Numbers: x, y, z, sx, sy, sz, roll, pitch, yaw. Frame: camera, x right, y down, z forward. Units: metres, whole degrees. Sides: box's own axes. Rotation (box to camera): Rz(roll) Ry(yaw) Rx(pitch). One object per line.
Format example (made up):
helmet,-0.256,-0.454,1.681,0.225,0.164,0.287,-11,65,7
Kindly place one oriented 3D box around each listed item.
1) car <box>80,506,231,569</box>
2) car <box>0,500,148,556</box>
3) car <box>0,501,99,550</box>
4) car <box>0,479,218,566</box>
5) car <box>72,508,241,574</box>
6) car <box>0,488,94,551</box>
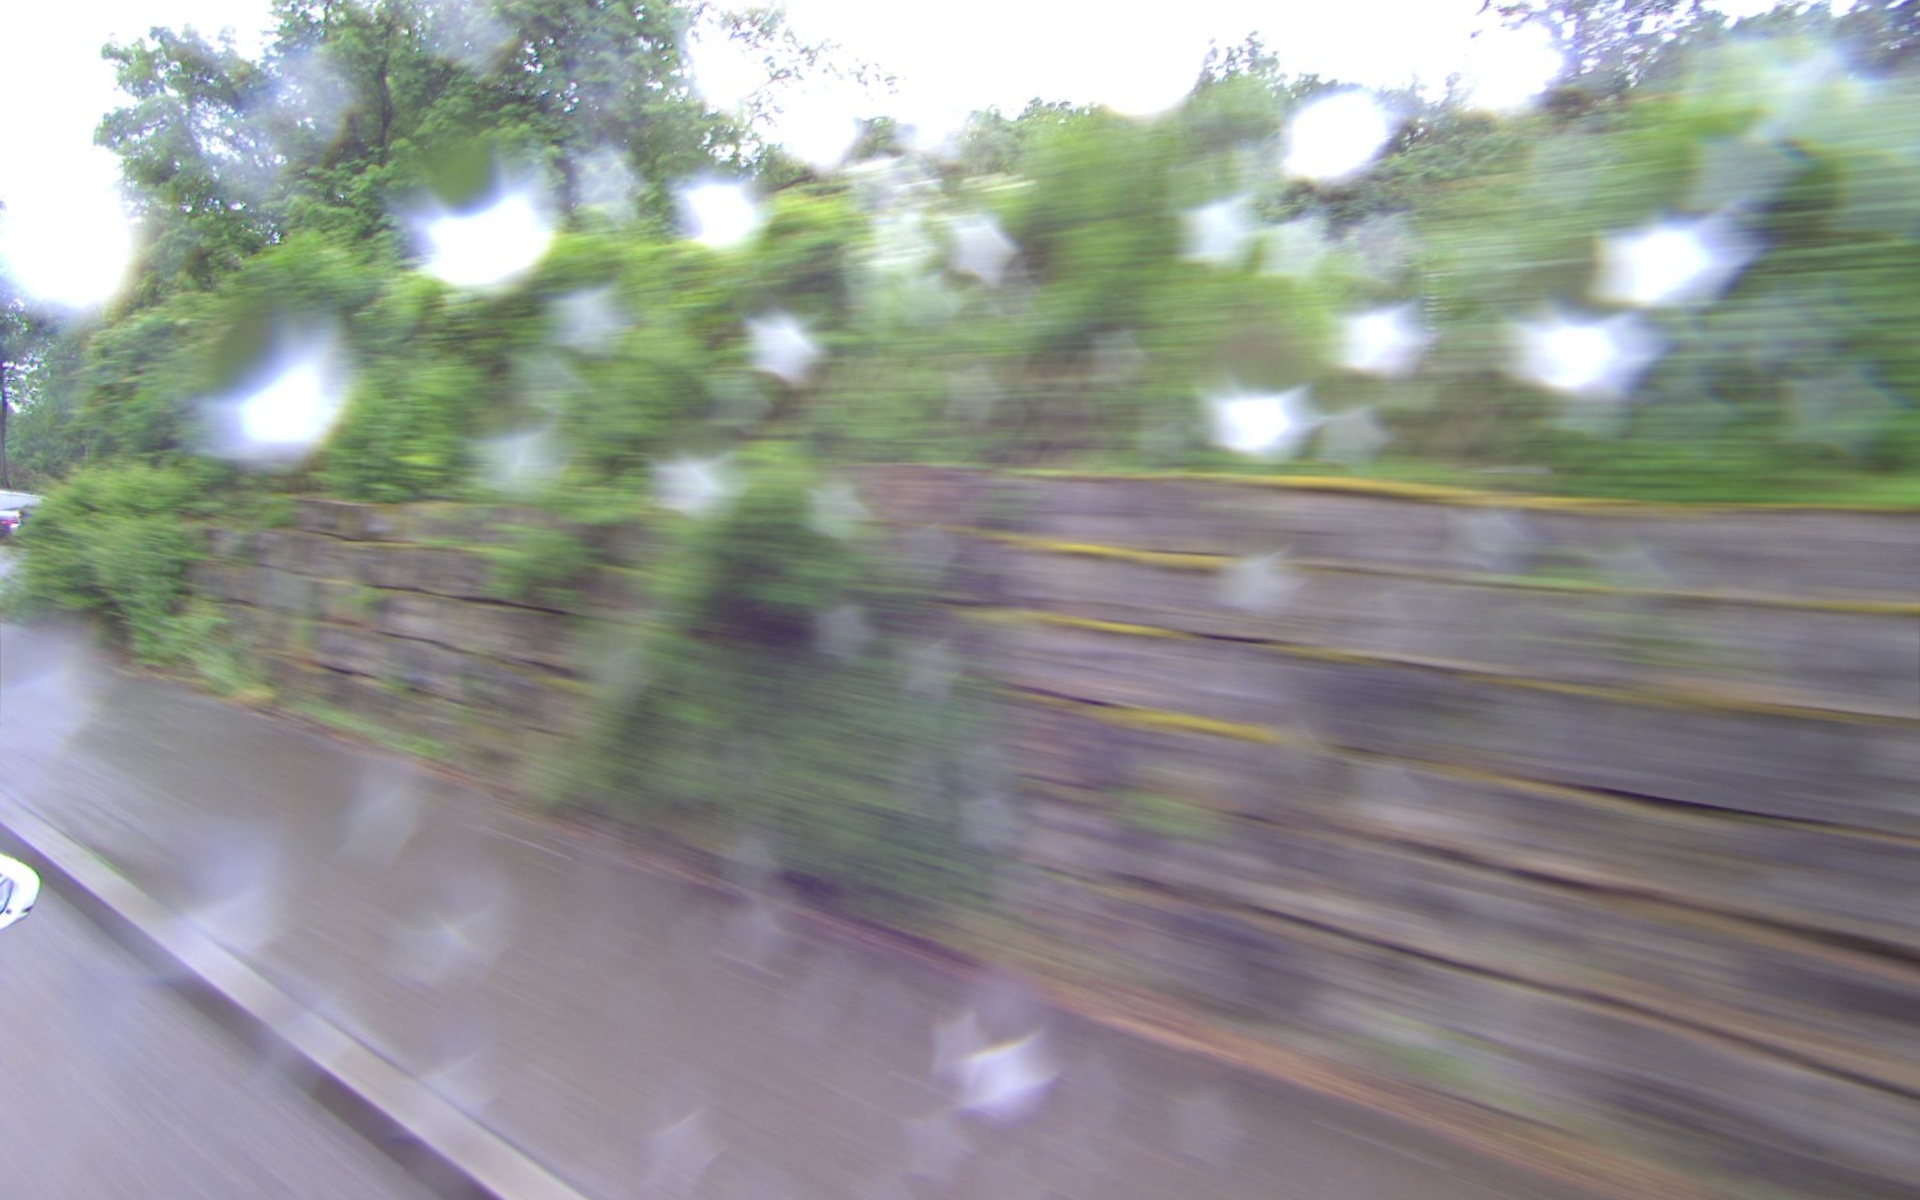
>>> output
car,-25.189,-1.917,31.671,1.589,1.504,3.912,6,-1,-3
car,-30.398,-2.423,34.647,1.597,1.430,3.994,6,-1,-2
car,-32.738,-2.657,35.272,1.729,1.365,3.796,6,-1,-1
car,-27.594,-2.425,32.945,2.288,1.992,5.484,7,-1,1
car,-22.974,-1.640,28.971,1.686,1.418,3.843,6,-1,-1
car,-35.143,-3.099,37.062,2.117,1.964,4.843,7,-1,0
